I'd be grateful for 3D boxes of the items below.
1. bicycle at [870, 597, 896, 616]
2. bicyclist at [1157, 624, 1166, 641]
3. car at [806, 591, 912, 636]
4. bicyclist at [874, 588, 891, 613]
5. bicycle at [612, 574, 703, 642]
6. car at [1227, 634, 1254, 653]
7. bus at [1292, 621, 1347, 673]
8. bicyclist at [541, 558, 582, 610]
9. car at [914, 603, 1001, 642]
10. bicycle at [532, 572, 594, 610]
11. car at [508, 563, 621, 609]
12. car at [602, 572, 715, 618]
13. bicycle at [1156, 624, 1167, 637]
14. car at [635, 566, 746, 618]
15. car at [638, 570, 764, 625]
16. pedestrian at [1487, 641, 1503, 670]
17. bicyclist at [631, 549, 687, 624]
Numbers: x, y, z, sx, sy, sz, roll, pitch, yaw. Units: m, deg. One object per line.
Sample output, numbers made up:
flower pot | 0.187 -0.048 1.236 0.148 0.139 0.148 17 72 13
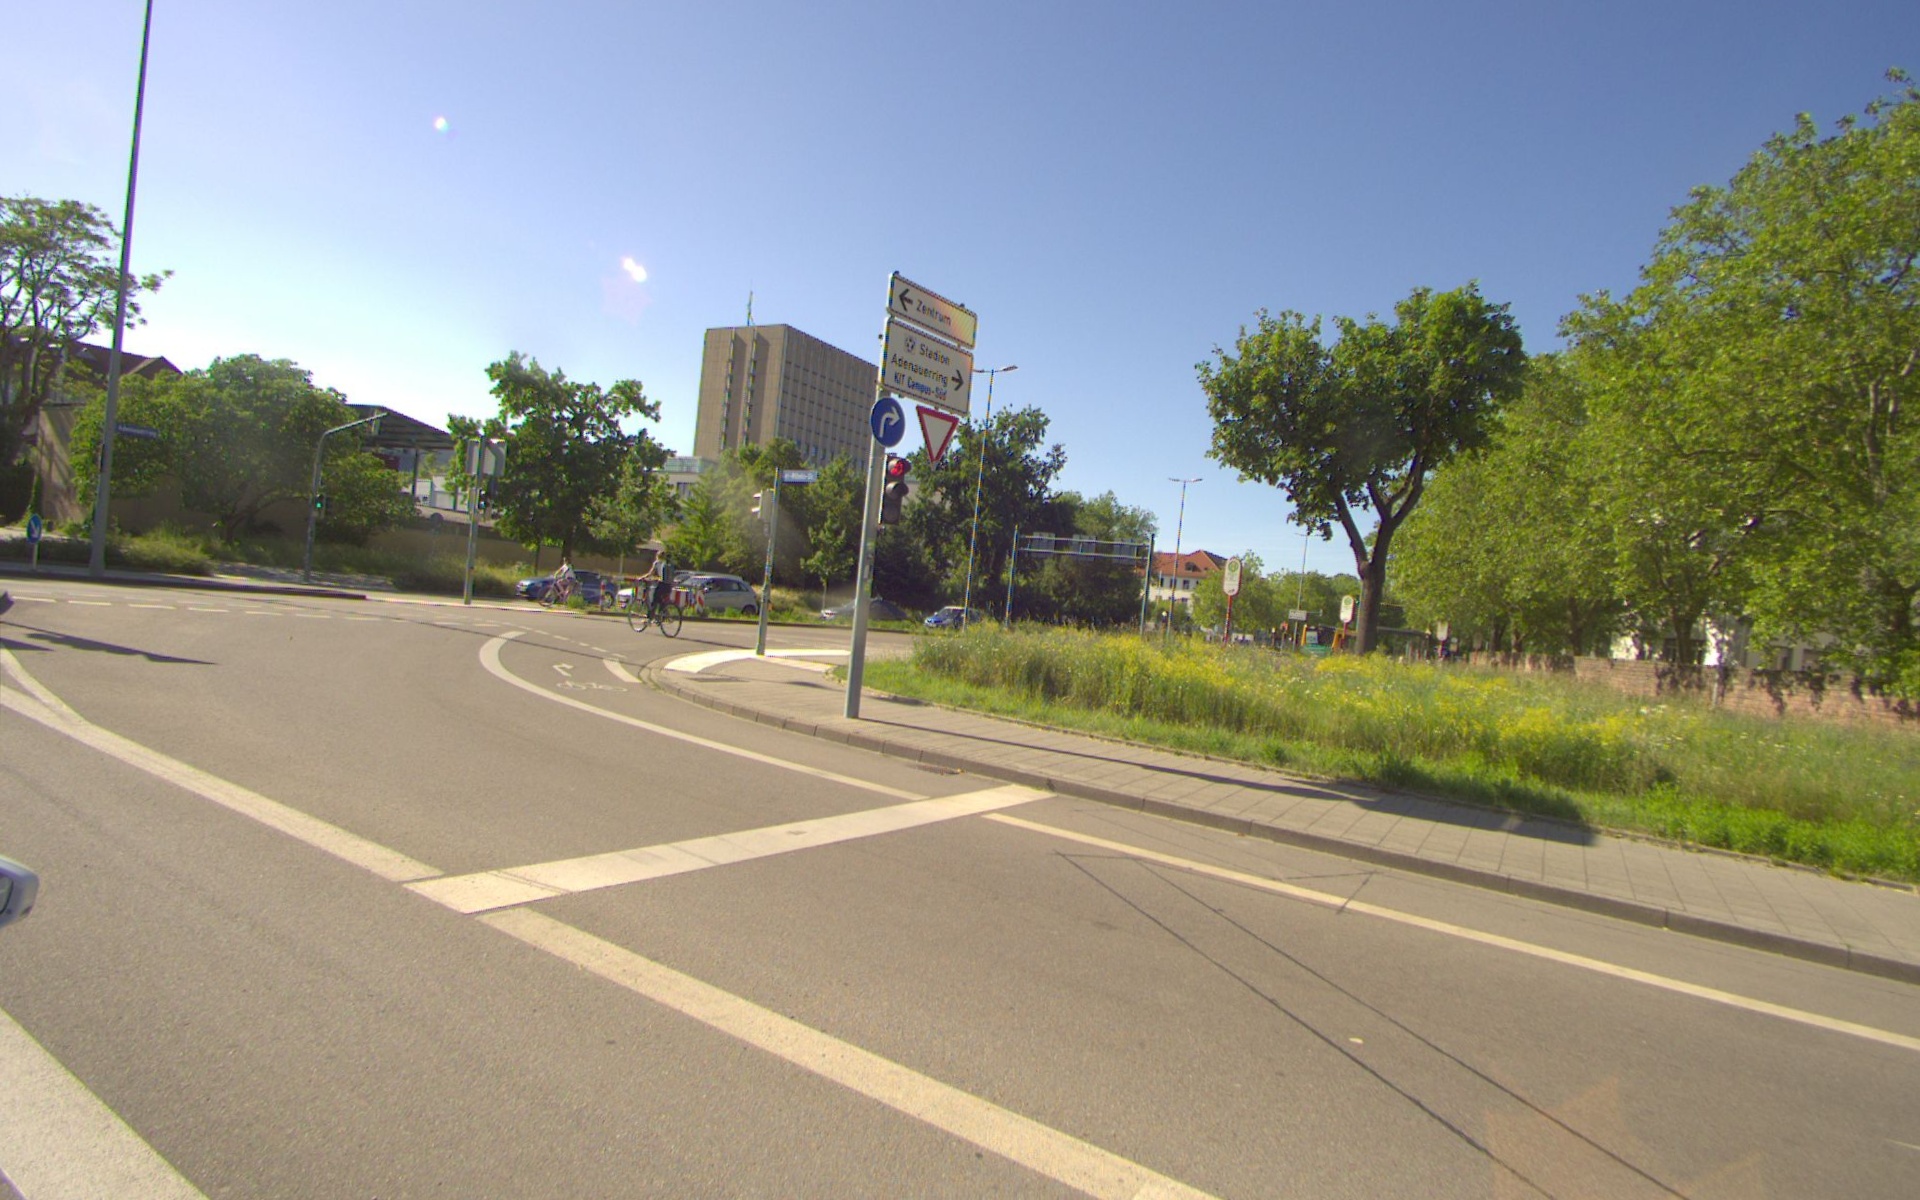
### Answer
bicycle | -5.307 0.478 69.440 0.632 1.180 1.952 9 3 31
bicyclist | 20.689 3.337 103.427 0.631 1.666 0.776 6 1 22
car | -4.415 0.632 44.638 1.953 1.573 4.709 5 -1 35
bicyclist | -5.321 0.011 69.267 0.621 1.617 0.830 9 4 31
bicycle | -6.333 0.154 21.042 1.838 1.180 0.641 8 2 30
car | 30.999 4.813 110.993 1.905 1.821 4.356 5 -1 27
bus | 27.120 3.604 75.812 2.935 3.310 6.255 7 -2 26
bicyclist | -13.959 -0.561 35.253 0.734 1.707 0.974 7 2 34
car | -0.080 1.180 50.737 1.953 1.573 4.709 5 -1 35
bicycle | -13.933 -0.290 35.344 0.736 1.180 1.864 7 2 33
car | -16.187 -0.555 41.338 1.679 1.459 3.988 5 -1 35
car | -12.434 -0.185 41.694 1.971 1.487 3.982 6 0 40
bicycle | 20.699 3.149 103.413 0.631 1.179 1.869 6 0 21
car | -12.511 -0.331 46.955 1.909 1.976 4.742 5 -1 35
car | -9.531 -0.057 37.339 1.762 1.644 4.303 5 -1 35
pedestrian | 30.988 3.209 58.227 0.642 1.630 0.558 7 -1 30
bicyclist | -6.290 -0.275 21.021 0.763 1.463 0.642 8 3 29
